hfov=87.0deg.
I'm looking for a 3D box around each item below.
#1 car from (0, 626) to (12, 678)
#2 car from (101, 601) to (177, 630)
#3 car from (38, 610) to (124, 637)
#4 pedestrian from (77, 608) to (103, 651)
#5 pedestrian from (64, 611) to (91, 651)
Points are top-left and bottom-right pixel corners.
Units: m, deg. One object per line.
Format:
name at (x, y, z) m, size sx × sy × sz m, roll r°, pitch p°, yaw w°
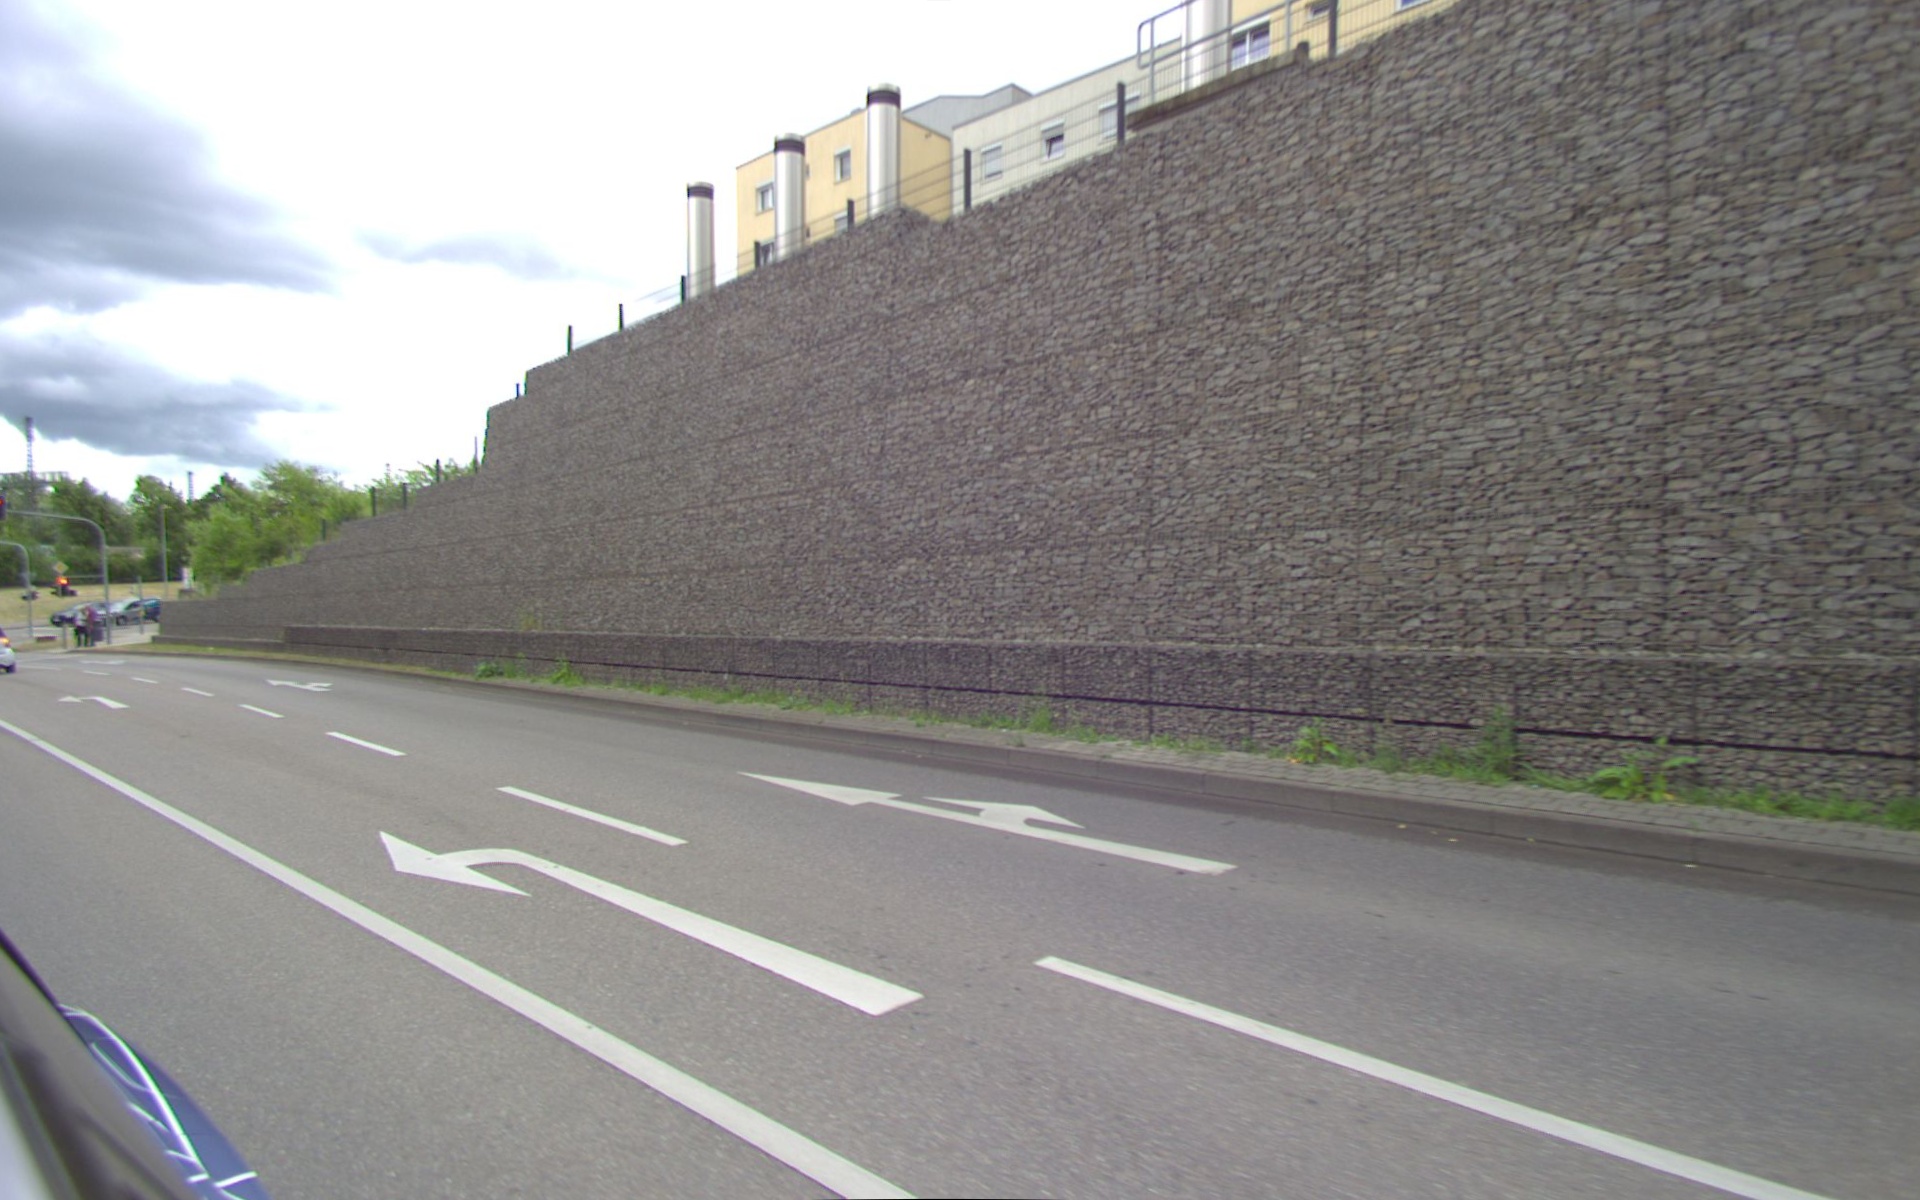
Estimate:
car at (-30.317, 1.634, 30.891) m, size 2.910 × 1.534 × 1.529 m, roll -1°, pitch 3°, yaw 39°
car at (-58.455, 1.068, 72.176) m, size 1.737 × 1.741 × 4.260 m, roll -2°, pitch 3°, yaw 3°
car at (-62.674, 1.655, 72.256) m, size 2.086 × 1.562 × 4.254 m, roll -2°, pitch 3°, yaw 8°
pedestrian at (-38.109, 1.278, 44.323) m, size 0.664 × 1.841 × 0.616 m, roll 0°, pitch 4°, yaw 37°
pedestrian at (-38.720, 1.347, 44.431) m, size 0.654 × 1.691 × 0.626 m, roll -4°, pitch 3°, yaw -27°
